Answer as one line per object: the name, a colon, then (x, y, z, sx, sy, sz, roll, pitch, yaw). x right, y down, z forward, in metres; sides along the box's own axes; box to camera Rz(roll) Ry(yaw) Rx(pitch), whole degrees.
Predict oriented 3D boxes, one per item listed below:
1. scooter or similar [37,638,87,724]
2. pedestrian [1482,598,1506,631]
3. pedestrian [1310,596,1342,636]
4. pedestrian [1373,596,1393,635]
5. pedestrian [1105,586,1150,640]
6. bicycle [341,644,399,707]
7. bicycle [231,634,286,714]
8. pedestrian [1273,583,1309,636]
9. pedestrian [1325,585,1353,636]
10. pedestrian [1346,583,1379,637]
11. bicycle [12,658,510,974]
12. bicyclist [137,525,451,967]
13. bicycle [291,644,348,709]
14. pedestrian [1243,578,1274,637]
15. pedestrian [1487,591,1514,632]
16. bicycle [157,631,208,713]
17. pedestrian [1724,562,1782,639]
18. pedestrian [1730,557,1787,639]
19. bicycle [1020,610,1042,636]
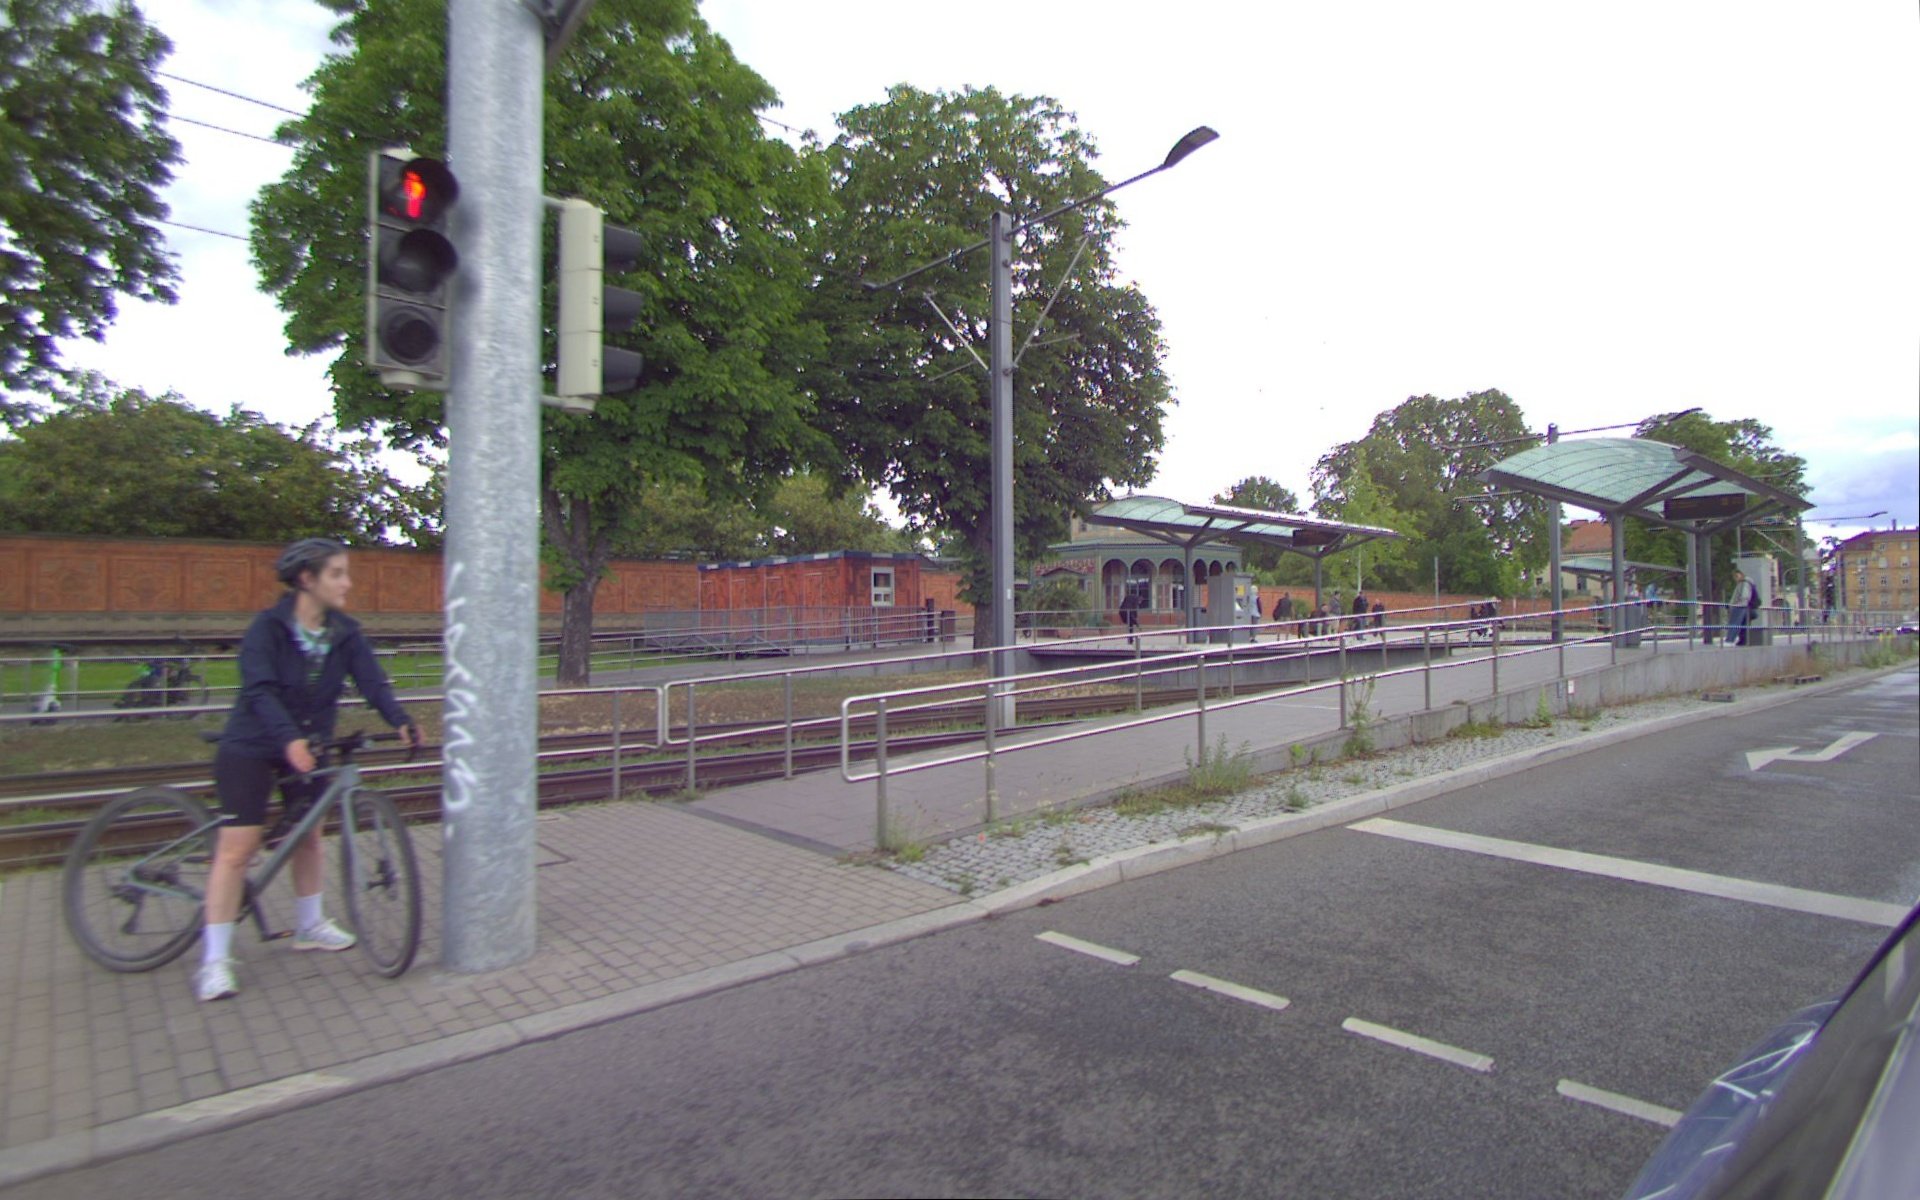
scooter or similar: (-12.614, 1.133, 14.232, 0.327, 1.154, 1.278, 0, -4, -33)
pedestrian: (27.326, 0.756, 51.805, 0.757, 1.621, 0.742, 0, -4, -32)
pedestrian: (11.550, 0.514, 31.922, 0.663, 1.207, 0.658, 1, -4, -40)
pedestrian: (20.882, 0.757, 49.956, 0.547, 1.862, 0.937, -5, -4, 42)
pedestrian: (4.350, 0.345, 26.255, 0.951, 1.341, 0.674, 1, -4, -42)
bicycle: (-9.825, 1.248, 16.814, 0.523, 0.976, 1.875, 1, -4, -40)
bicycle: (-10.915, 1.145, 15.729, 0.523, 1.154, 1.875, 1, -4, -40)
pedestrian: (11.067, 0.321, 33.872, 0.858, 1.699, 0.751, -5, -4, 39)
pedestrian: (12.500, 0.354, 33.378, 0.663, 1.641, 0.525, 1, -4, -40)
pedestrian: (14.180, 0.371, 35.673, 0.933, 1.862, 0.633, 1, -4, -40)
bicycle: (-2.751, 0.789, 4.051, 1.657, 1.088, 0.618, 0, -3, 10)
bicyclist: (-2.616, 0.533, 4.039, 0.793, 1.593, 0.616, 0, -3, 10)
bicycle: (-10.345, 1.232, 16.324, 0.523, 0.976, 1.875, 1, -4, -40)
pedestrian: (8.764, 0.231, 29.722, 0.664, 1.699, 0.544, 1, -5, -44)
pedestrian: (23.079, 0.507, 43.216, 0.851, 1.709, 0.633, 1, -4, -41)
bicycle: (-11.732, 1.088, 15.252, 0.523, 1.154, 1.875, 1, -4, -40)
pedestrian: (17.029, 0.027, 21.740, 0.760, 1.574, 0.751, 3, -6, -39)
pedestrian: (17.574, -0.021, 22.282, 0.718, 1.722, 0.771, 3, -6, -39)
bicycle: (3.090, 0.996, 43.947, 0.556, 1.075, 1.705, -3, -3, 18)
